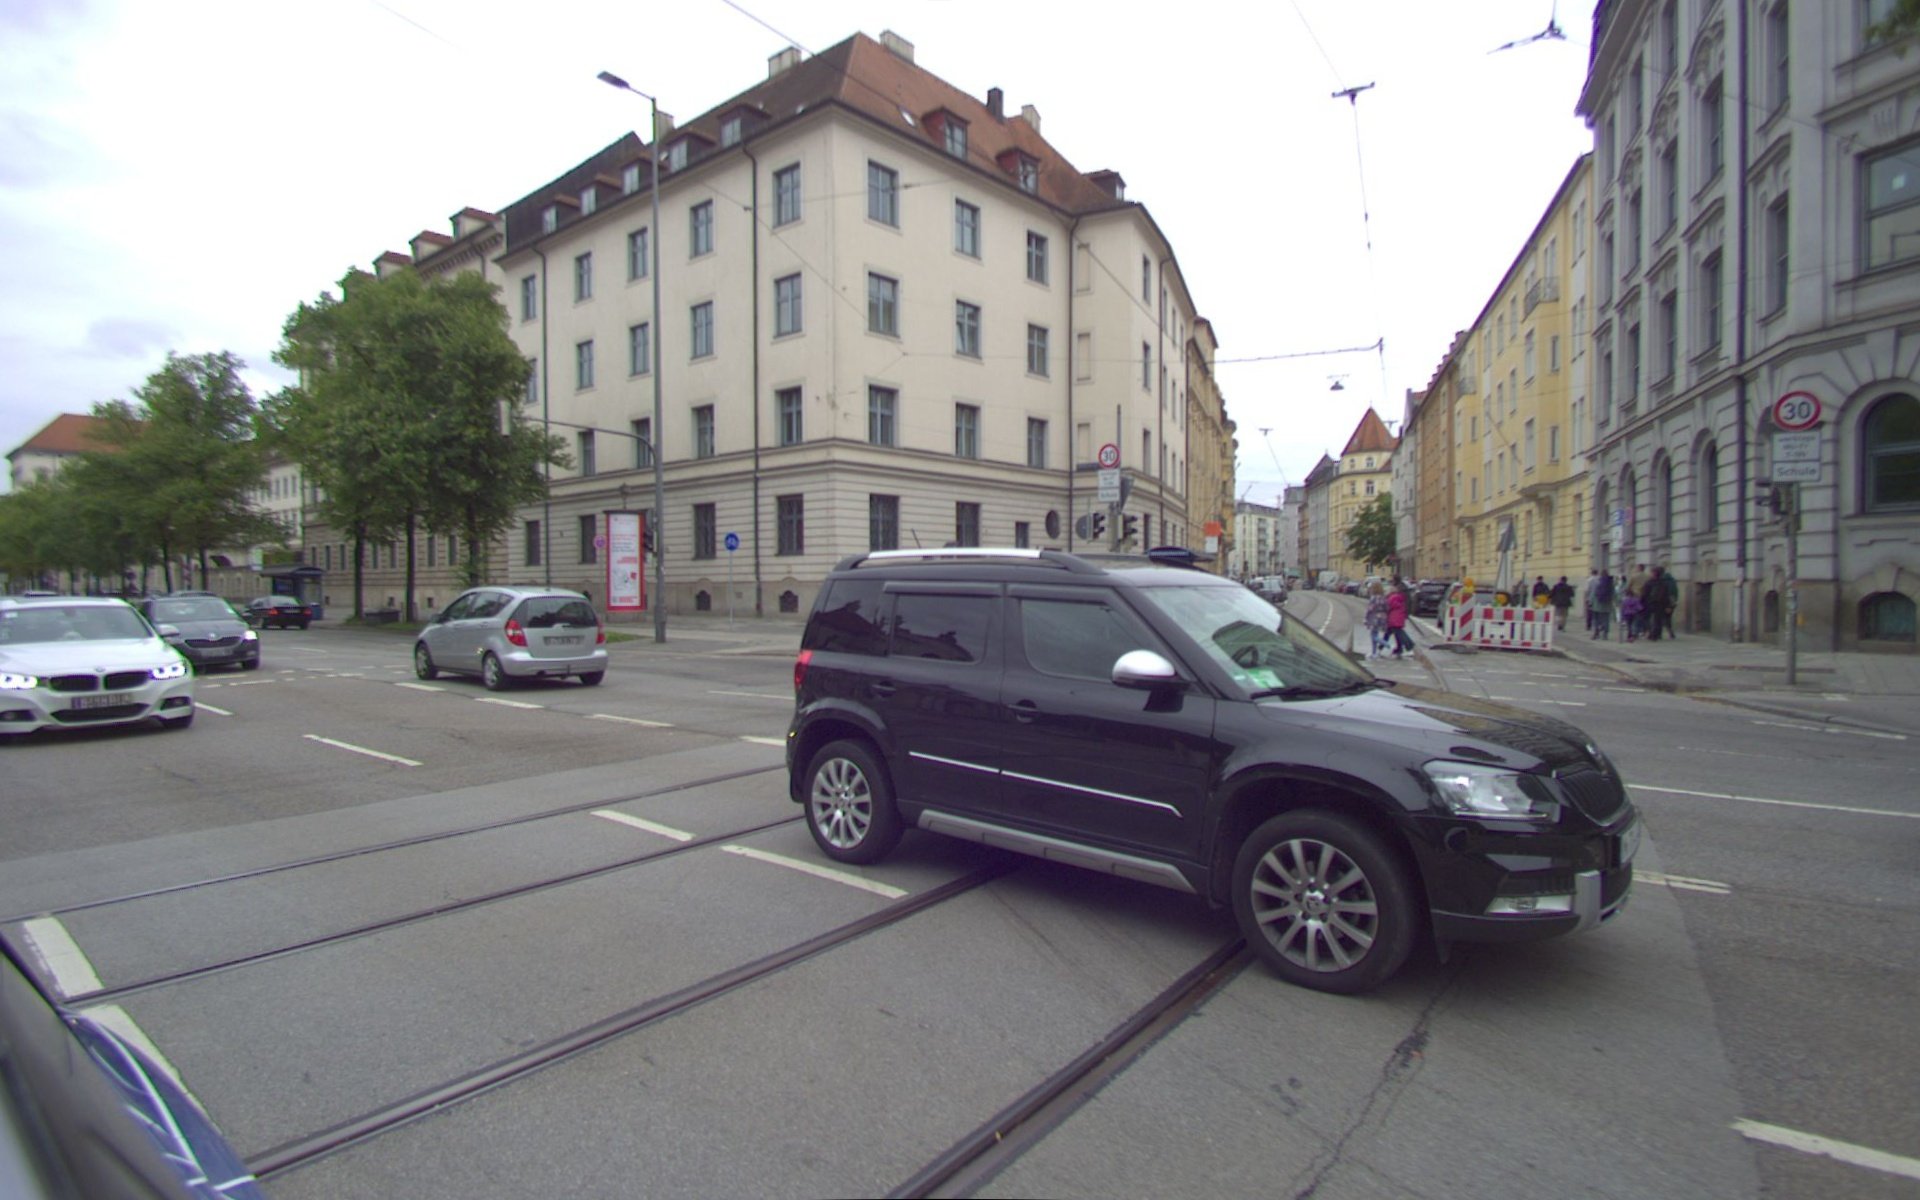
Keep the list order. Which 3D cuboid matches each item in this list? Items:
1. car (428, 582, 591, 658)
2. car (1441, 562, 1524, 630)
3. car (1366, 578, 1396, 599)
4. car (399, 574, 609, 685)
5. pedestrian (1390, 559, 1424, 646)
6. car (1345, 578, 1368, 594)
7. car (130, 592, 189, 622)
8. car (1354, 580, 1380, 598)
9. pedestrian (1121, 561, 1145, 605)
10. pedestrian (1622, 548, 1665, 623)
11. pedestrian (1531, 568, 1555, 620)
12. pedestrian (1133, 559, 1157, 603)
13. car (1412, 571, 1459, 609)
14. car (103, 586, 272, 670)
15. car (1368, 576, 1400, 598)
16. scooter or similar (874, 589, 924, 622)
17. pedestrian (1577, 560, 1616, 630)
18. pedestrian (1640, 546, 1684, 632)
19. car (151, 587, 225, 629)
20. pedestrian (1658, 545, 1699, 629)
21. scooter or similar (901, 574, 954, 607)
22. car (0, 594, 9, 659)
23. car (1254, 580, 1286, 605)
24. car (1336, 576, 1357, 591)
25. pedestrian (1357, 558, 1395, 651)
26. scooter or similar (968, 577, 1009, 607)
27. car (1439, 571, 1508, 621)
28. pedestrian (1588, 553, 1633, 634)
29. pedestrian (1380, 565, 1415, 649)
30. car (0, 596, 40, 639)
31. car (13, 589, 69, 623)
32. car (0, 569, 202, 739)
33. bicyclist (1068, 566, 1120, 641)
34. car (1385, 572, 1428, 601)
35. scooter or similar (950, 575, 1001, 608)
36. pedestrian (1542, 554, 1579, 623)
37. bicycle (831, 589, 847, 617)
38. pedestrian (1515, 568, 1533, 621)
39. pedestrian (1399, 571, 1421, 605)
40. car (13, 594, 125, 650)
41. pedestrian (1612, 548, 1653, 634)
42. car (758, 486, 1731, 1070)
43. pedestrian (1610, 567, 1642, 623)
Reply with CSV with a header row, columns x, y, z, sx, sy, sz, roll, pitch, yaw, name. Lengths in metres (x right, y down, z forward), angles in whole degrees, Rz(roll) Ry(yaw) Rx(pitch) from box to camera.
x,y,z,sx,sy,sz,roll,pitch,yaw,name
-10.186,0.388,22.750,4.225,1.541,1.735,0,1,41,car
14.339,-0.108,27.950,1.682,1.743,3.547,-1,0,22,car
33.524,-0.885,80.698,1.984,1.608,3.698,-1,0,19,car
-7.456,0.415,16.395,3.944,1.583,1.617,0,1,41,car
9.719,0.047,21.992,0.494,1.868,0.471,-1,1,-31,pedestrian
39.943,-1.413,102.006,1.984,1.608,3.698,-1,0,19,car
-44.065,0.367,55.679,4.443,1.598,1.705,0,1,41,car
37.883,-1.050,94.305,1.984,1.608,3.698,-1,0,19,car
7.483,-0.728,43.859,0.660,1.866,0.797,0,2,42,pedestrian
19.077,-0.406,28.246,0.797,2.028,0.775,-1,2,20,pedestrian
20.909,-0.213,36.316,0.624,1.868,0.676,0,1,21,pedestrian
7.961,-0.802,43.465,0.660,1.866,0.797,0,2,42,pedestrian
21.015,-0.454,44.830,1.682,1.588,3.547,-1,0,22,car
-15.183,0.475,19.807,4.272,1.458,1.774,0,1,41,car
31.727,-0.963,75.793,1.984,1.608,3.698,-1,0,19,car
-2.170,0.194,35.840,0.680,1.127,1.950,-3,2,-43,scooter or similar
18.761,-0.148,29.828,0.797,2.028,0.775,-1,2,20,pedestrian
16.932,-0.277,24.417,0.662,2.028,0.775,-1,2,20,pedestrian
-32.229,0.327,42.203,4.163,1.652,1.661,0,0,42,car
17.653,-0.310,24.871,0.662,2.028,0.576,-1,2,20,pedestrian
-1.163,-0.349,36.105,1.947,1.127,0.681,0,2,42,scooter or similar
-23.795,0.611,23.688,4.272,1.458,1.774,0,1,41,car
21.193,-0.519,69.188,1.984,1.608,3.698,-1,0,19,car
42.574,-1.765,111.519,1.984,1.608,3.698,-1,0,19,car
8.539,0.082,20.772,0.494,1.868,0.529,-1,1,-31,pedestrian
1.085,-0.301,38.275,1.546,1.127,0.539,0,2,42,scooter or similar
16.573,-0.133,32.802,1.682,1.530,3.547,-1,0,22,car
16.747,-0.177,26.068,0.797,2.028,0.775,-1,2,20,pedestrian
9.266,0.134,21.423,0.494,1.752,0.471,-1,1,-31,pedestrian
-34.017,0.589,35.697,4.272,1.458,1.774,0,1,41,car
-46.222,0.275,50.857,4.374,1.598,1.704,0,1,43,car
-10.734,0.501,11.983,5.023,1.649,1.774,0,1,41,car
2.926,0.072,22.152,0.892,1.590,0.653,0,2,42,bicyclist
25.969,-0.784,58.937,1.984,1.608,3.698,-1,0,19,car
0.559,-0.309,37.700,1.901,1.166,0.681,0,2,42,scooter or similar
17.851,-0.344,30.089,0.797,2.028,0.775,-1,2,20,pedestrian
-4.238,0.091,35.414,0.399,0.954,1.281,-2,2,-12,bicycle
20.345,-0.197,36.503,0.499,1.868,0.466,0,1,22,pedestrian
21.236,-0.571,47.778,0.857,1.588,0.871,-1,0,22,pedestrian
-25.075,0.562,28.437,4.272,1.458,1.774,0,1,41,car
16.230,-0.226,24.440,0.638,2.028,0.775,-1,2,20,pedestrian
1.030,0.480,4.877,4.202,1.649,1.705,0,1,41,car
19.603,-0.157,29.799,0.643,1.607,0.573,-1,2,20,pedestrian
